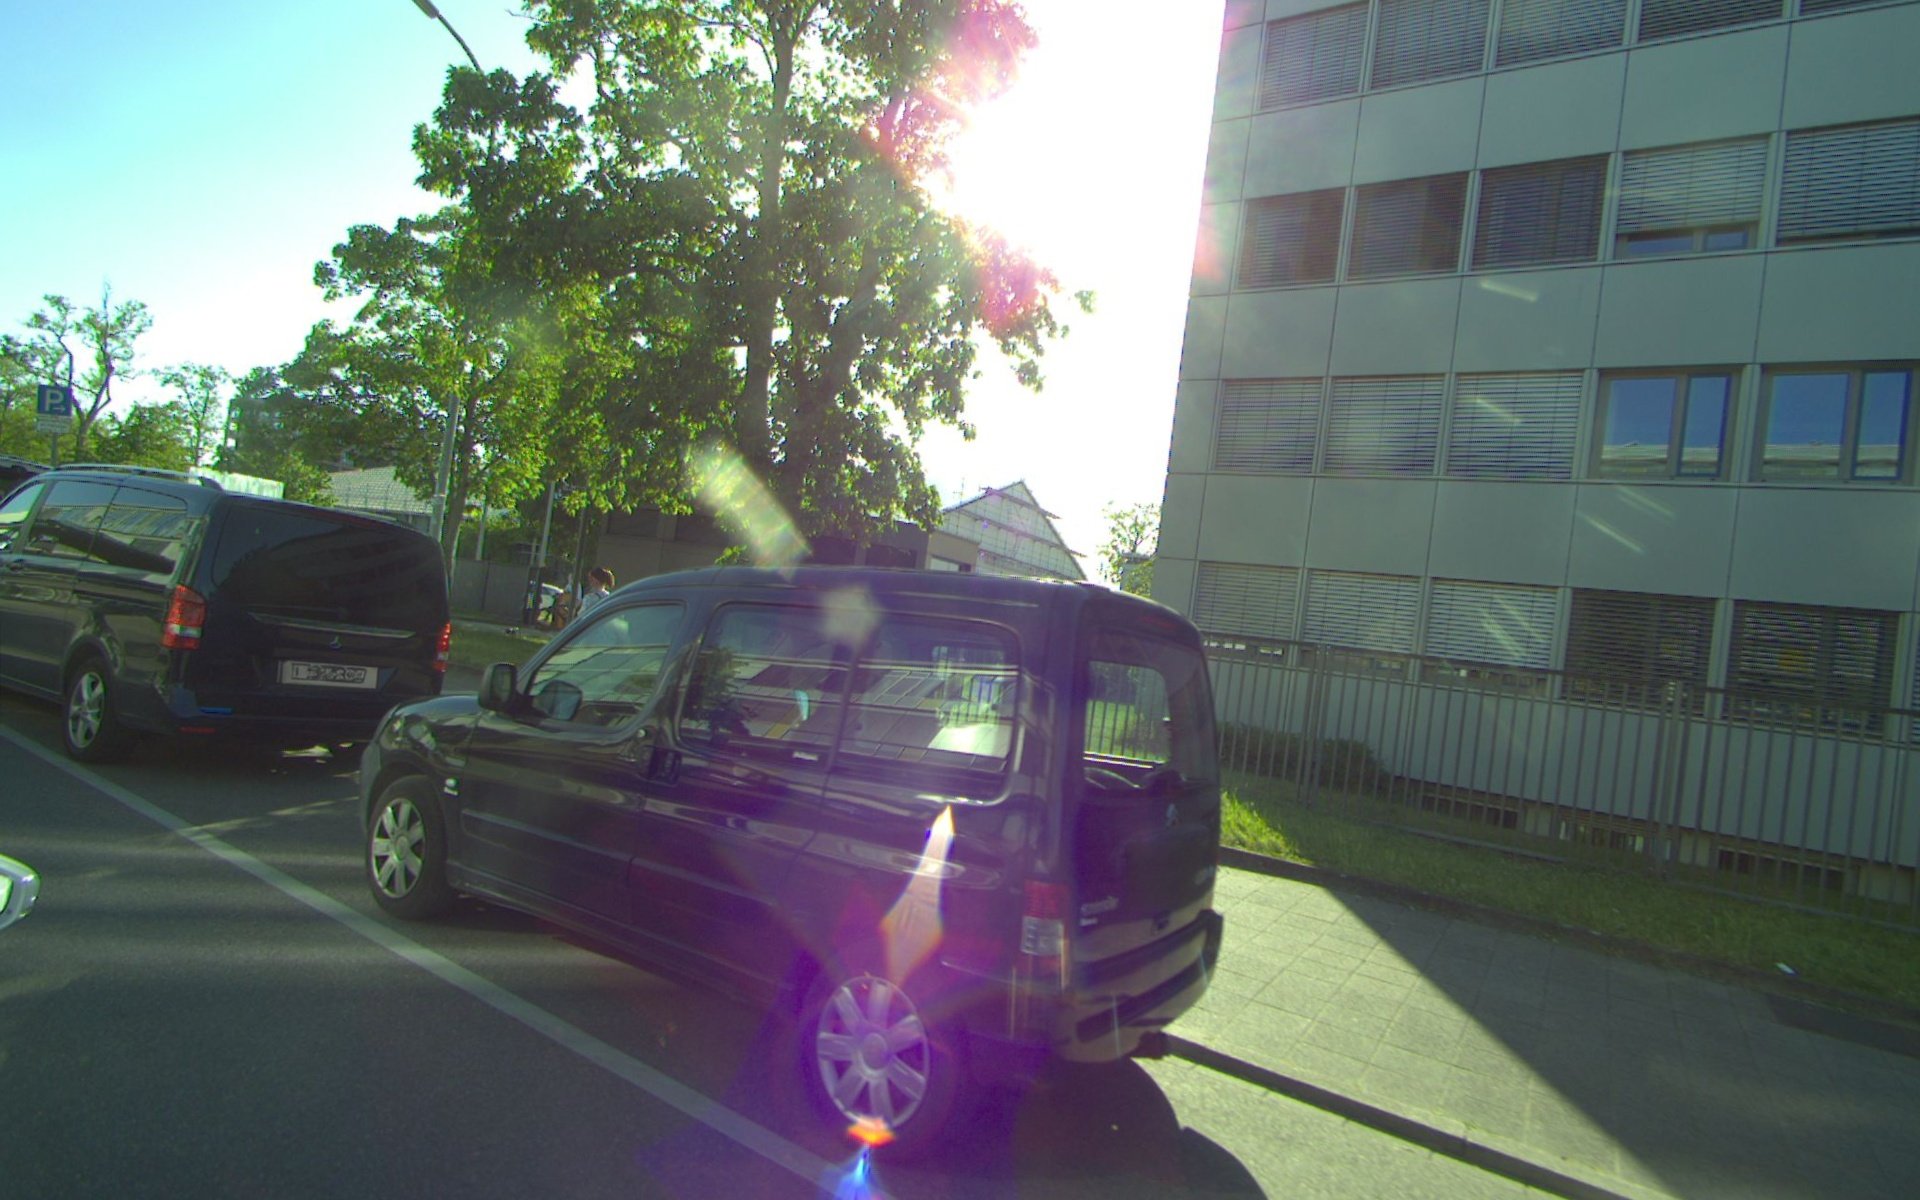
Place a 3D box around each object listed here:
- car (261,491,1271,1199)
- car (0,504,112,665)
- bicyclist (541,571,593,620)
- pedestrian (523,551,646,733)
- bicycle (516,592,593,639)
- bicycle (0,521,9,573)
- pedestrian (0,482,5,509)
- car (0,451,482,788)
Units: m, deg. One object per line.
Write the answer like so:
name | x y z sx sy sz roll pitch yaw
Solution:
car | -1.071 0.678 4.494 4.225 1.813 1.706 7 -4 33
car | -11.244 -0.375 11.098 4.048 1.529 1.668 7 -4 34
bicyclist | -11.627 -0.139 29.776 1.093 1.283 0.852 9 -1 -42
pedestrian | -3.874 0.438 10.393 0.763 1.749 0.692 7 0 32
bicycle | -11.883 0.461 29.509 1.890 1.156 0.660 8 0 -42
bicycle | -19.330 -1.084 19.109 0.688 1.021 1.884 8 0 -2
pedestrian | -9.562 -0.313 9.427 0.586 1.764 0.697 11 -4 -39
car | -6.268 0.024 7.891 4.937 1.889 1.870 7 -4 30
